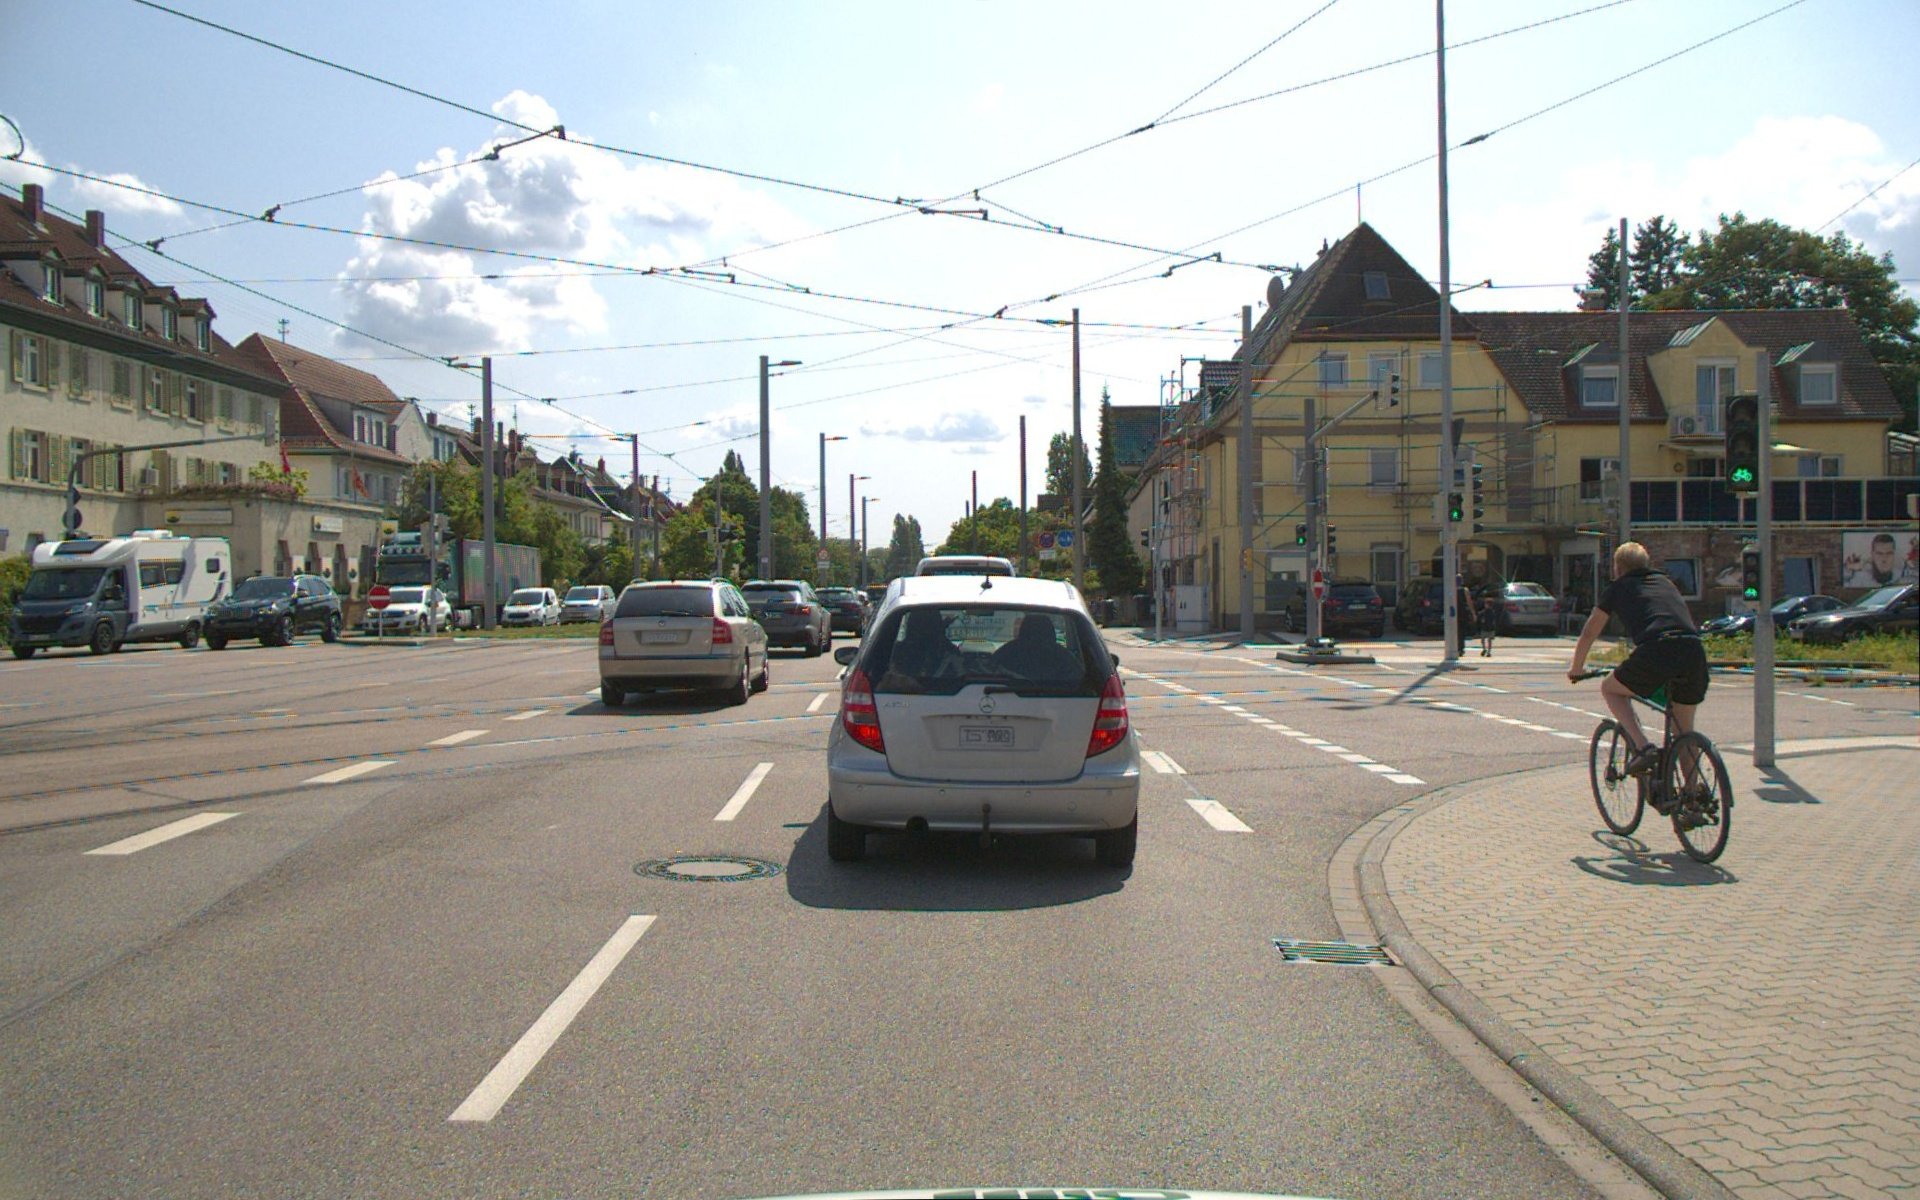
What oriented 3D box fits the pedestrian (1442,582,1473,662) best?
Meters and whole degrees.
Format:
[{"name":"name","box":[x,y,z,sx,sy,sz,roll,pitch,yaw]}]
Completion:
[{"name":"pedestrian","box":[10.497,0.466,34.892,0.535,1.672,0.401,1,-1,4]}]

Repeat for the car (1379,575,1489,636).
[{"name":"car","box":[13.526,0.161,47.437,1.953,1.624,4.130,1,0,-1]}]

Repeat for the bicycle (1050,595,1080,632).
[{"name":"bicycle","box":[3.267,0.425,51.482,0.638,1.137,1.585,1,0,-7]}]

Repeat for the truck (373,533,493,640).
[{"name":"truck","box":[-20.619,-0.557,64.993,2.545,3.887,5.669,-3,1,2]}]

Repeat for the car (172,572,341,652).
[{"name":"car","box":[-17.418,0.260,41.266,1.952,1.807,4.879,-2,0,2]}]

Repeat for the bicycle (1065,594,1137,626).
[{"name":"bicycle","box":[5.419,0.397,63.797,2.671,1.139,0.691,-2,-1,-2]}]

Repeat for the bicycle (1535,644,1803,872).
[{"name":"bicycle","box":[4.064,0.856,9.667,0.811,1.094,1.972,-2,1,4]}]

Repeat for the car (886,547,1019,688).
[{"name":"car","box":[-0.157,0.240,23.375,1.695,1.793,4.015,1,0,-2]}]

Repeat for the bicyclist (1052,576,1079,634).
[{"name":"bicyclist","box":[3.280,0.151,51.487,0.638,1.768,0.982,1,-1,-8]}]

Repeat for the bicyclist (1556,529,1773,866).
[{"name":"bicyclist","box":[4.052,0.527,9.600,0.811,1.825,1.084,-2,1,5]}]

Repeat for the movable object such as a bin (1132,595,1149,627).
[{"name":"movable object such as a bin","box":[6.314,0.379,57.755,0.501,1.124,0.855,0,-1,0]}]

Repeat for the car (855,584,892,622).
[{"name":"car","box":[-4.386,0.173,84.479,1.815,1.875,3.916,1,0,-3]}]

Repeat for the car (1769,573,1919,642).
[{"name":"car","box":[19.660,0.134,35.038,4.230,1.352,1.738,-2,0,-4]}]

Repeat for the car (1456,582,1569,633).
[{"name":"car","box":[15.846,0.231,47.608,1.829,1.375,4.130,1,0,-1]}]

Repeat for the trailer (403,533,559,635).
[{"name":"trailer","box":[-20.453,-0.740,71.665,2.545,3.887,12.840,-3,1,1]}]

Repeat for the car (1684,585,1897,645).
[{"name":"car","box":[19.633,0.354,39.172,4.230,1.331,1.738,1,0,-4]}]

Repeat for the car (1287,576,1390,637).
[{"name":"car","box":[10.684,0.201,46.963,1.953,1.624,4.130,1,0,-1]}]

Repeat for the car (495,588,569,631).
[{"name":"car","box":[-17.618,0.397,68.255,1.757,1.665,4.471,-2,0,1]}]

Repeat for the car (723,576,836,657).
[{"name":"car","box":[-3.574,0.319,33.392,1.878,1.503,4.560,1,0,-2]}]

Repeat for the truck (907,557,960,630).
[{"name":"truck","box":[-1.050,-0.220,63.028,1.815,2.597,5.852,1,0,-2]}]

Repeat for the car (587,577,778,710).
[{"name":"car","box":[-3.339,0.464,20.608,1.696,1.474,4.123,1,1,-1]}]

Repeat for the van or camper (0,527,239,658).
[{"name":"van or camper","box":[-21.040,-0.198,41.668,2.276,2.981,7.755,0,0,1]}]

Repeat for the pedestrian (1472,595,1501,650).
[{"name":"pedestrian","box":[11.113,0.471,34.893,0.478,1.156,0.389,1,-1,-1]}]

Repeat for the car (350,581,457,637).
[{"name":"car","box":[-17.750,0.283,52.946,1.953,1.579,4.177,-4,0,0]}]

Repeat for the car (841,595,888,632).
[{"name":"car","box":[-3.808,0.538,66.443,1.815,1.413,3.916,1,0,-3]}]

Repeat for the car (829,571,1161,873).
[{"name":"car","box":[0.083,0.608,10.558,1.695,1.543,4.014,1,1,-3]}]

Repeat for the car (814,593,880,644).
[{"name":"car","box":[-3.282,0.536,48.752,1.815,1.413,4.512,1,0,-2]}]

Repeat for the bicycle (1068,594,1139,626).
[{"name":"bicycle","box":[5.463,0.386,63.070,2.608,1.124,0.786,-2,-1,-2]}]

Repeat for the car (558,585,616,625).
[{"name":"car","box":[-17.866,0.243,79.318,1.758,1.847,4.711,-2,0,-1]}]

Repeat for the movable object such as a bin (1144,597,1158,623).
[{"name":"movable object such as a bin","box":[7.328,0.390,63.543,0.458,0.963,0.558,-1,-1,-1]}]
